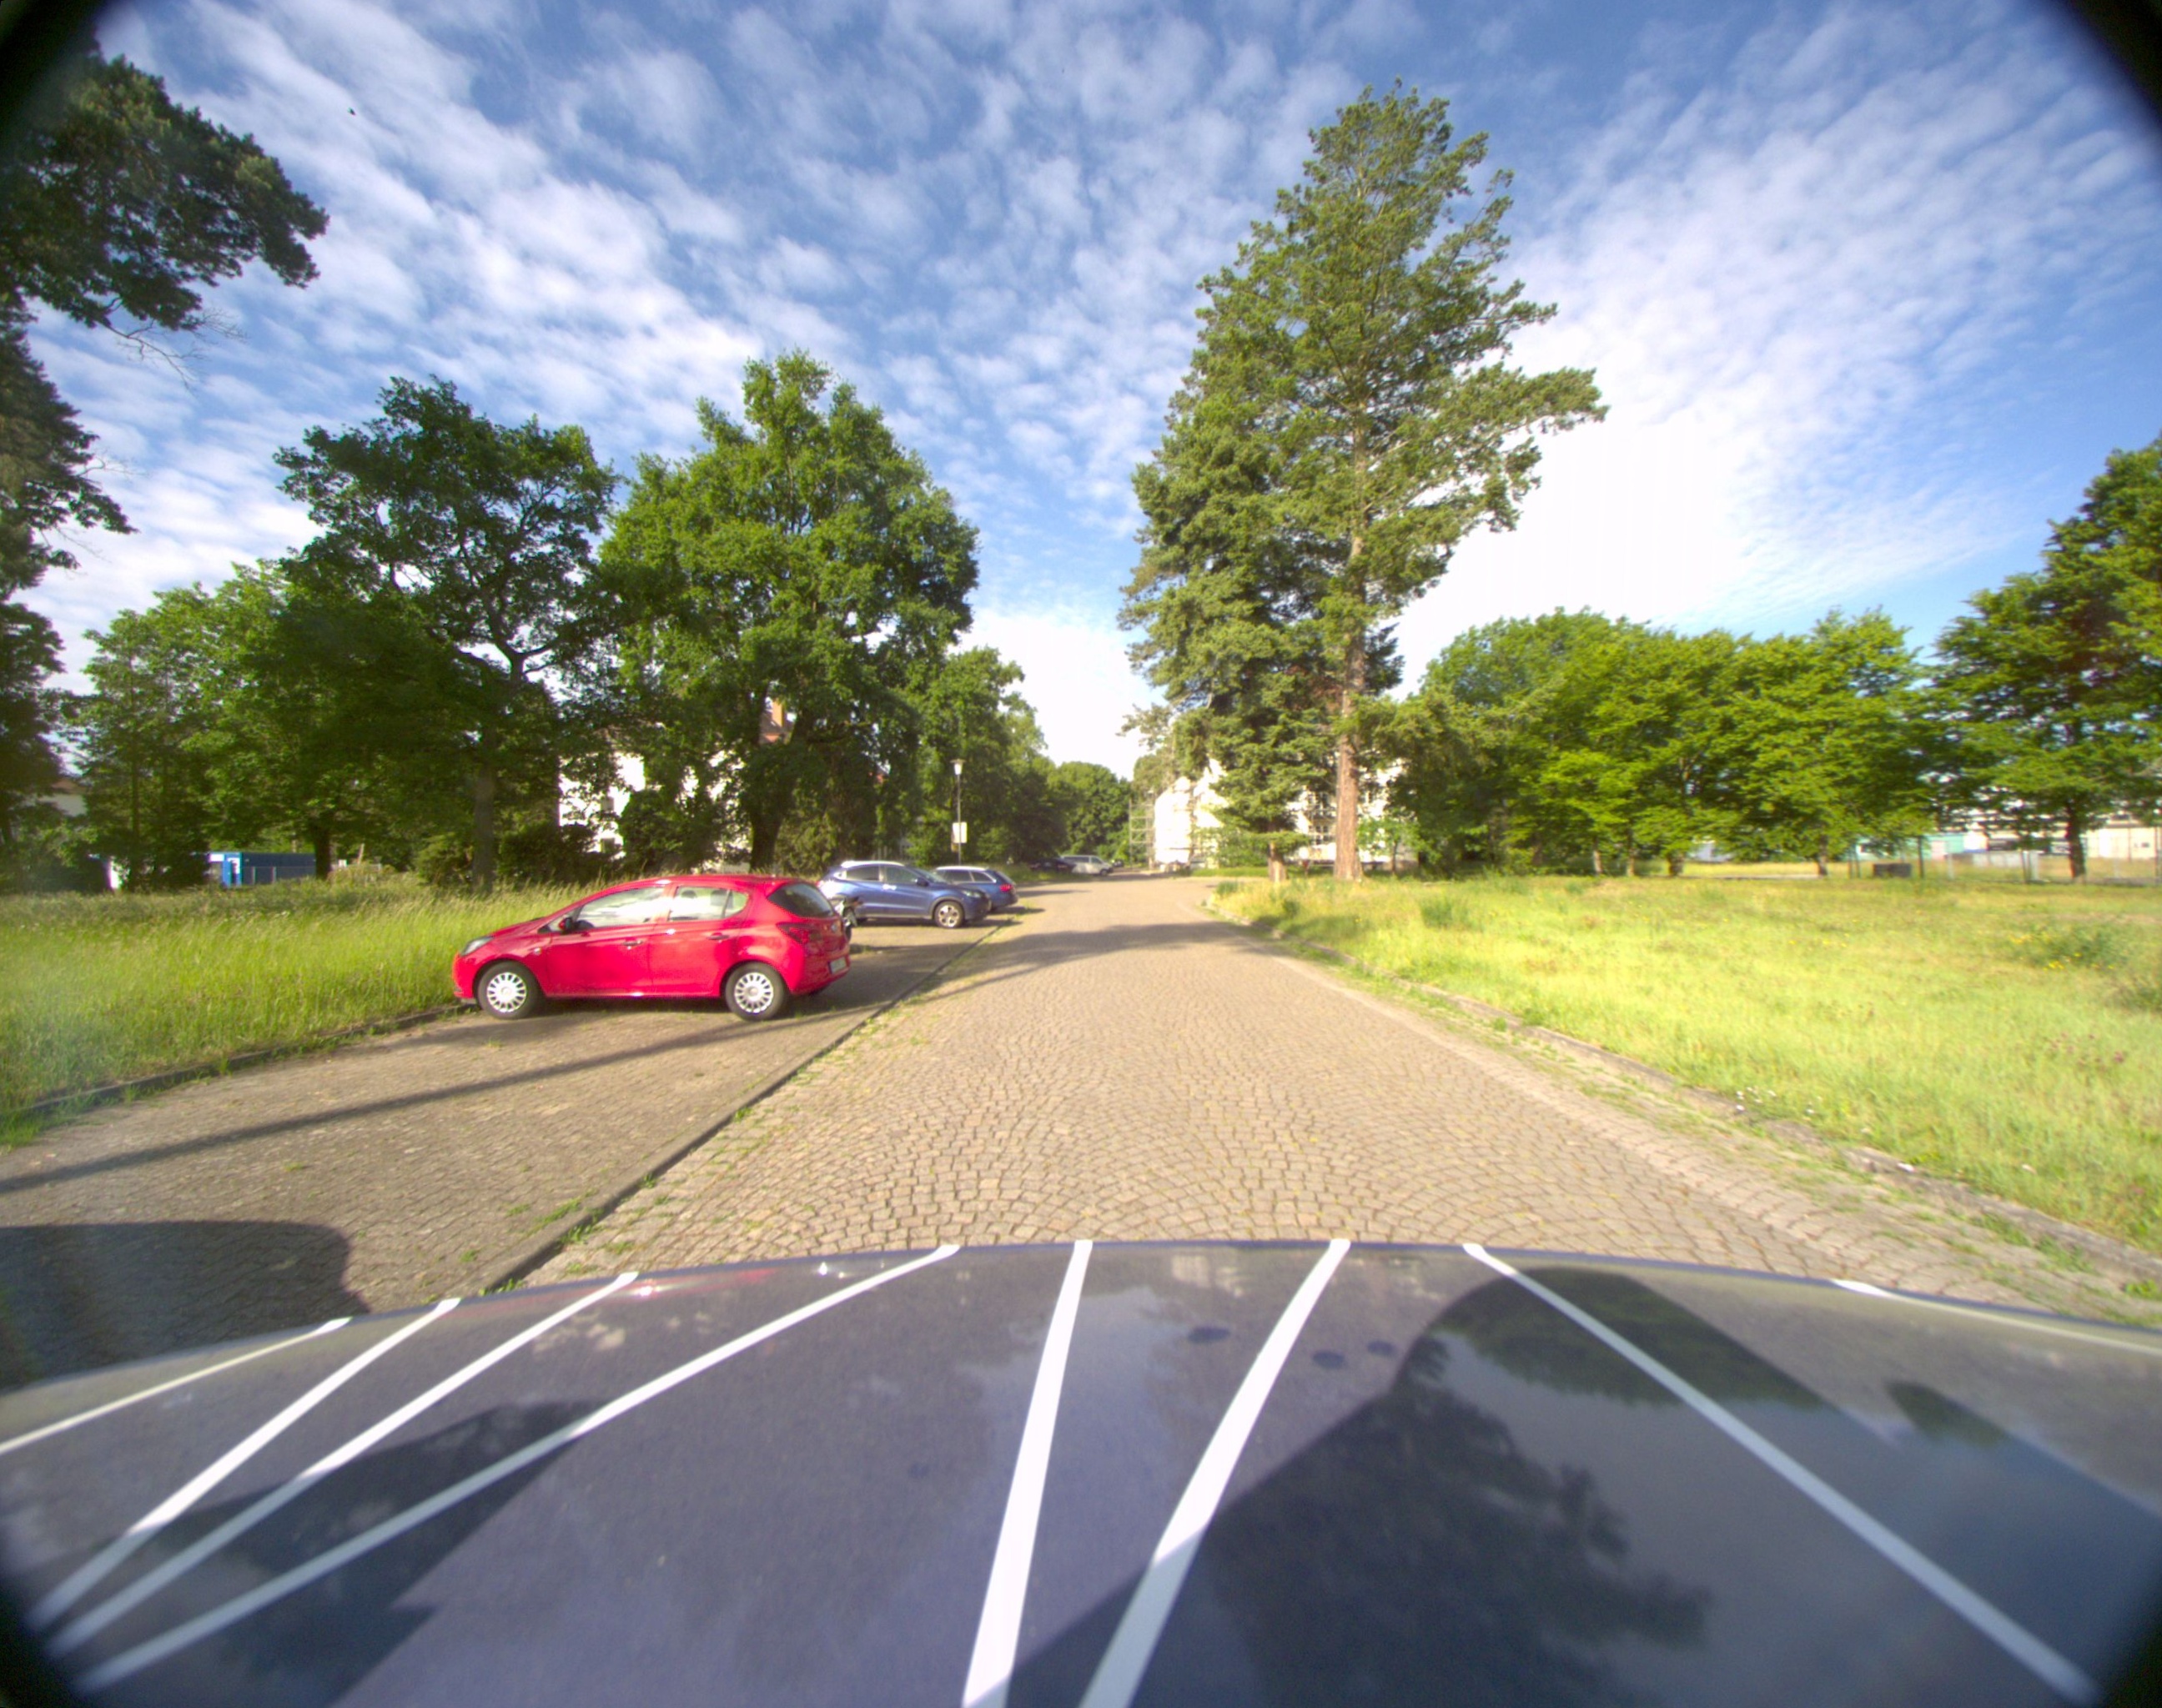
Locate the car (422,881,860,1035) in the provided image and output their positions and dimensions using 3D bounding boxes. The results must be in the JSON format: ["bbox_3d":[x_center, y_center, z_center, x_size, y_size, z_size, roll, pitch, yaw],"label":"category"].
[{"bbox_3d":[-4.597,1.059,8.358,3.837,1.470,1.645,0,0,0],"label":"car"}]

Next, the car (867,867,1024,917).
[{"bbox_3d":[-4.098,1.136,23.341,4.459,1.399,1.714,1,0,4],"label":"car"}]

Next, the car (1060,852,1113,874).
[{"bbox_3d":[0.566,0.854,72.054,4.936,2.002,2.000,-1,0,1],"label":"car"}]

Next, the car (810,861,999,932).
[{"bbox_3d":[-4.231,1.004,18.657,4.187,1.581,1.751,-1,0,0],"label":"car"}]

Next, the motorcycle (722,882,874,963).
[{"bbox_3d":[-4.779,1.141,12.917,2.305,1.312,0.726,0,0,0],"label":"motorcycle"}]

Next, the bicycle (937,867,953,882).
[{"bbox_3d":[-9.329,1.411,52.028,0.710,1.010,1.257,-1,0,8],"label":"bicycle"}]

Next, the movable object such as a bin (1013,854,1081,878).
[{"bbox_3d":[-2.632,0.909,59.200,4.931,1.749,2.002,-1,0,16],"label":"movable object such as a bin"}]
